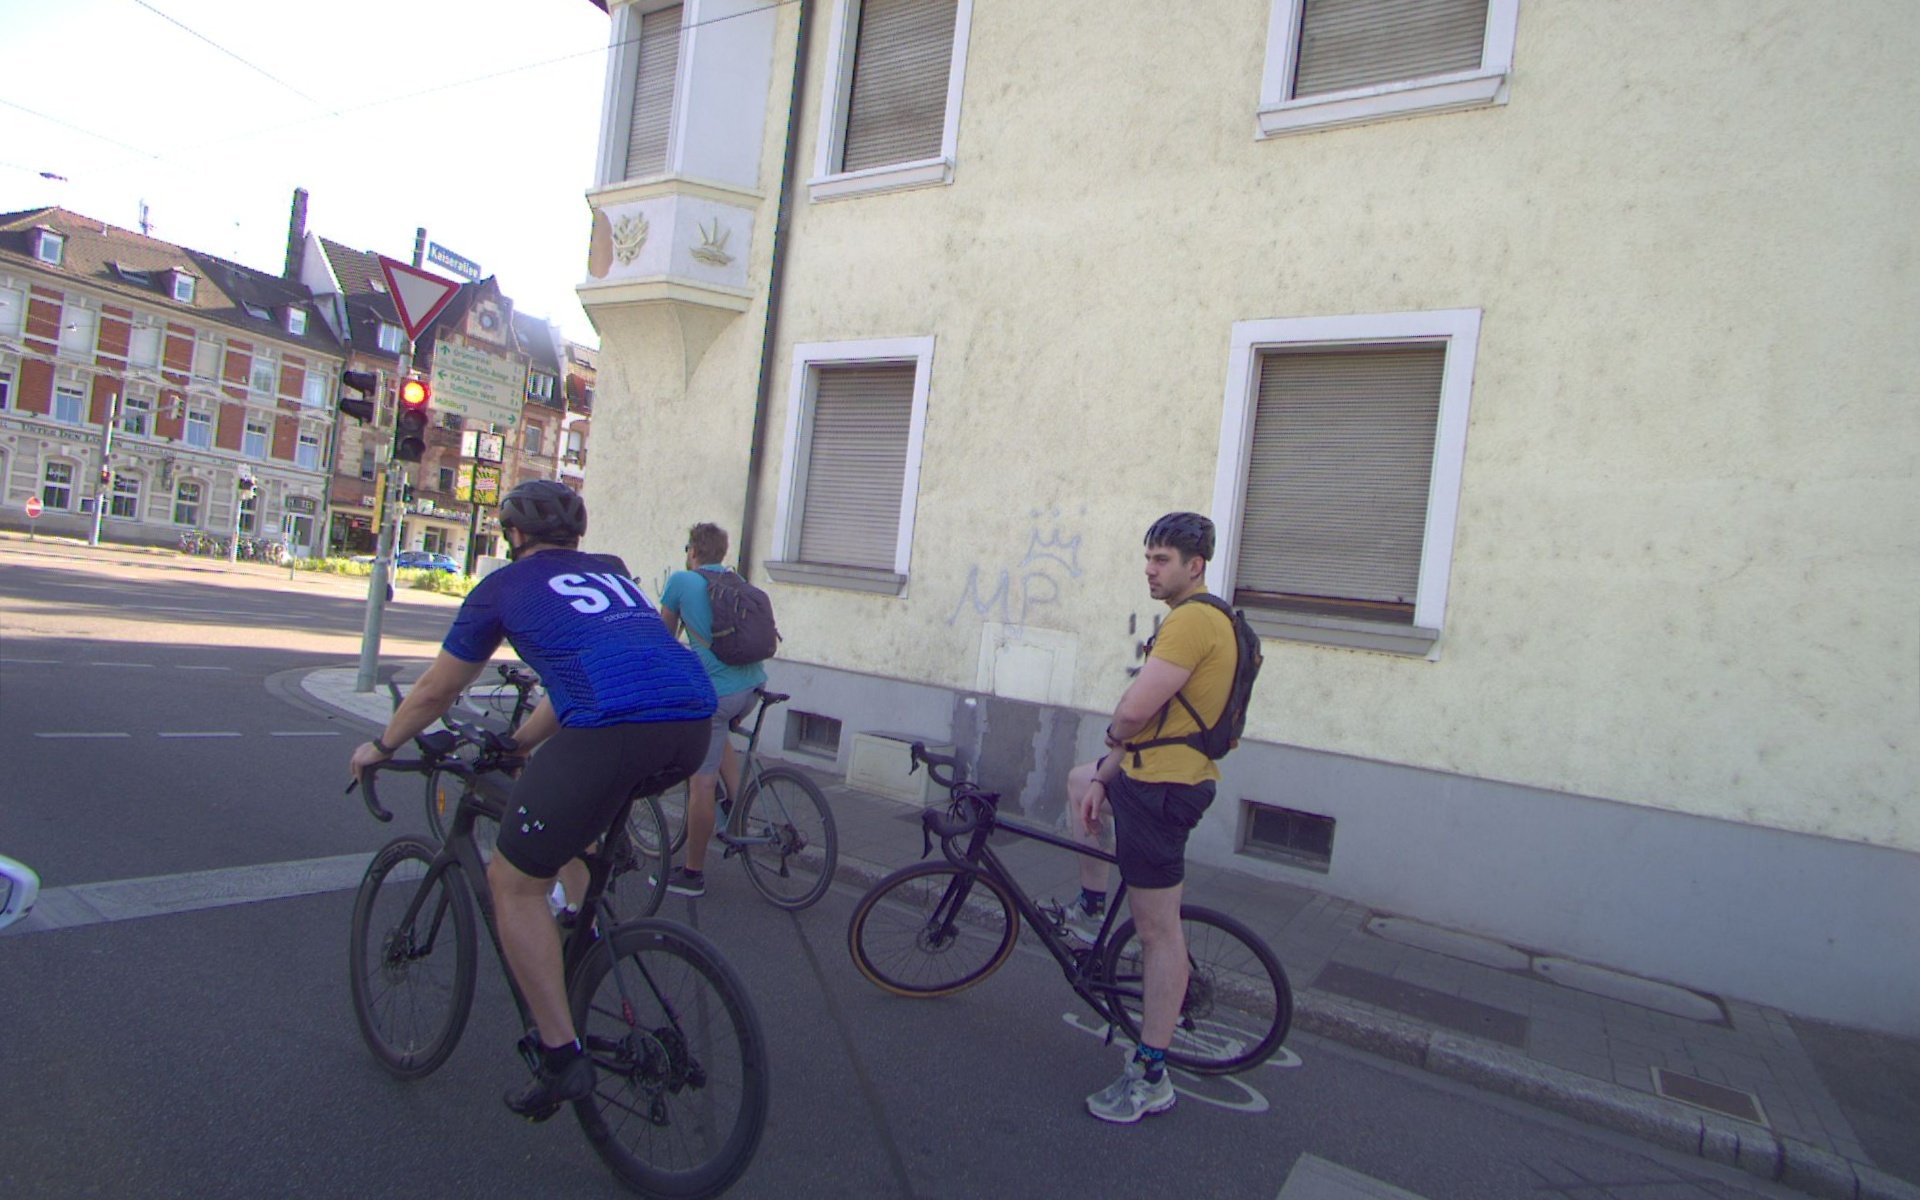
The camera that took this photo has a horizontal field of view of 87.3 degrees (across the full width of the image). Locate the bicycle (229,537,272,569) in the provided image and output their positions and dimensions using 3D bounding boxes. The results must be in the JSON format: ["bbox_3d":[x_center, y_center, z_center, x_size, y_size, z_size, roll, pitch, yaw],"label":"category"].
[{"bbox_3d":[-33.417,-2.221,47.366,2.618,1.301,0.629,6,-1,33],"label":"bicycle"}]

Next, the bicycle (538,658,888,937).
[{"bbox_3d":[-1.325,0.946,5.260,1.742,1.043,0.650,6,-1,33],"label":"bicycle"}]

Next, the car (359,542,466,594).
[{"bbox_3d":[-25.464,-1.452,46.910,1.967,1.798,3.790,6,-2,31],"label":"car"}]

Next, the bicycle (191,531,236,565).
[{"bbox_3d":[-34.200,-2.382,46.070,2.618,1.301,0.693,6,-1,33],"label":"bicycle"}]

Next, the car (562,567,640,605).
[{"bbox_3d":[-23.246,-0.871,65.289,1.967,1.798,4.374,6,-2,31],"label":"car"}]

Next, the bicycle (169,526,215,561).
[{"bbox_3d":[-34.613,-2.546,45.342,2.618,1.301,0.693,6,-1,33],"label":"bicycle"}]

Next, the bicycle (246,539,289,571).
[{"bbox_3d":[-33.051,-2.152,47.996,2.618,1.301,0.629,6,-1,33],"label":"bicycle"}]

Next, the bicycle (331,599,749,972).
[{"bbox_3d":[-1.908,0.733,4.531,1.674,1.251,0.756,6,-1,30],"label":"bicycle"}]

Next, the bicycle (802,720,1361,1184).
[{"bbox_3d":[0.396,1.089,3.636,1.751,1.043,0.756,6,-2,33],"label":"bicycle"}]

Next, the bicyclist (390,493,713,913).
[{"bbox_3d":[-1.812,0.417,4.521,0.868,1.625,0.807,7,-1,30],"label":"bicyclist"}]

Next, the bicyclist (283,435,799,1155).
[{"bbox_3d":[-1.067,0.422,2.641,0.867,1.512,0.641,9,0,22],"label":"bicyclist"}]

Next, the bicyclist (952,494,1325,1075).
[{"bbox_3d":[0.648,0.555,3.524,0.869,1.682,0.807,6,-1,32],"label":"bicyclist"}]

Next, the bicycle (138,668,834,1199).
[{"bbox_3d":[-1.288,0.847,2.718,1.671,1.097,0.628,7,-1,22],"label":"bicycle"}]

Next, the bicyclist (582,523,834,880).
[{"bbox_3d":[-1.315,0.493,5.276,0.869,1.652,0.690,6,-1,34],"label":"bicyclist"}]

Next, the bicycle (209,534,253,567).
[{"bbox_3d":[-33.833,-2.313,46.694,2.618,1.301,0.629,6,-1,33],"label":"bicycle"}]

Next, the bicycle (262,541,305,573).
[{"bbox_3d":[-32.682,-2.071,48.585,2.618,1.301,0.629,6,-1,33],"label":"bicycle"}]
